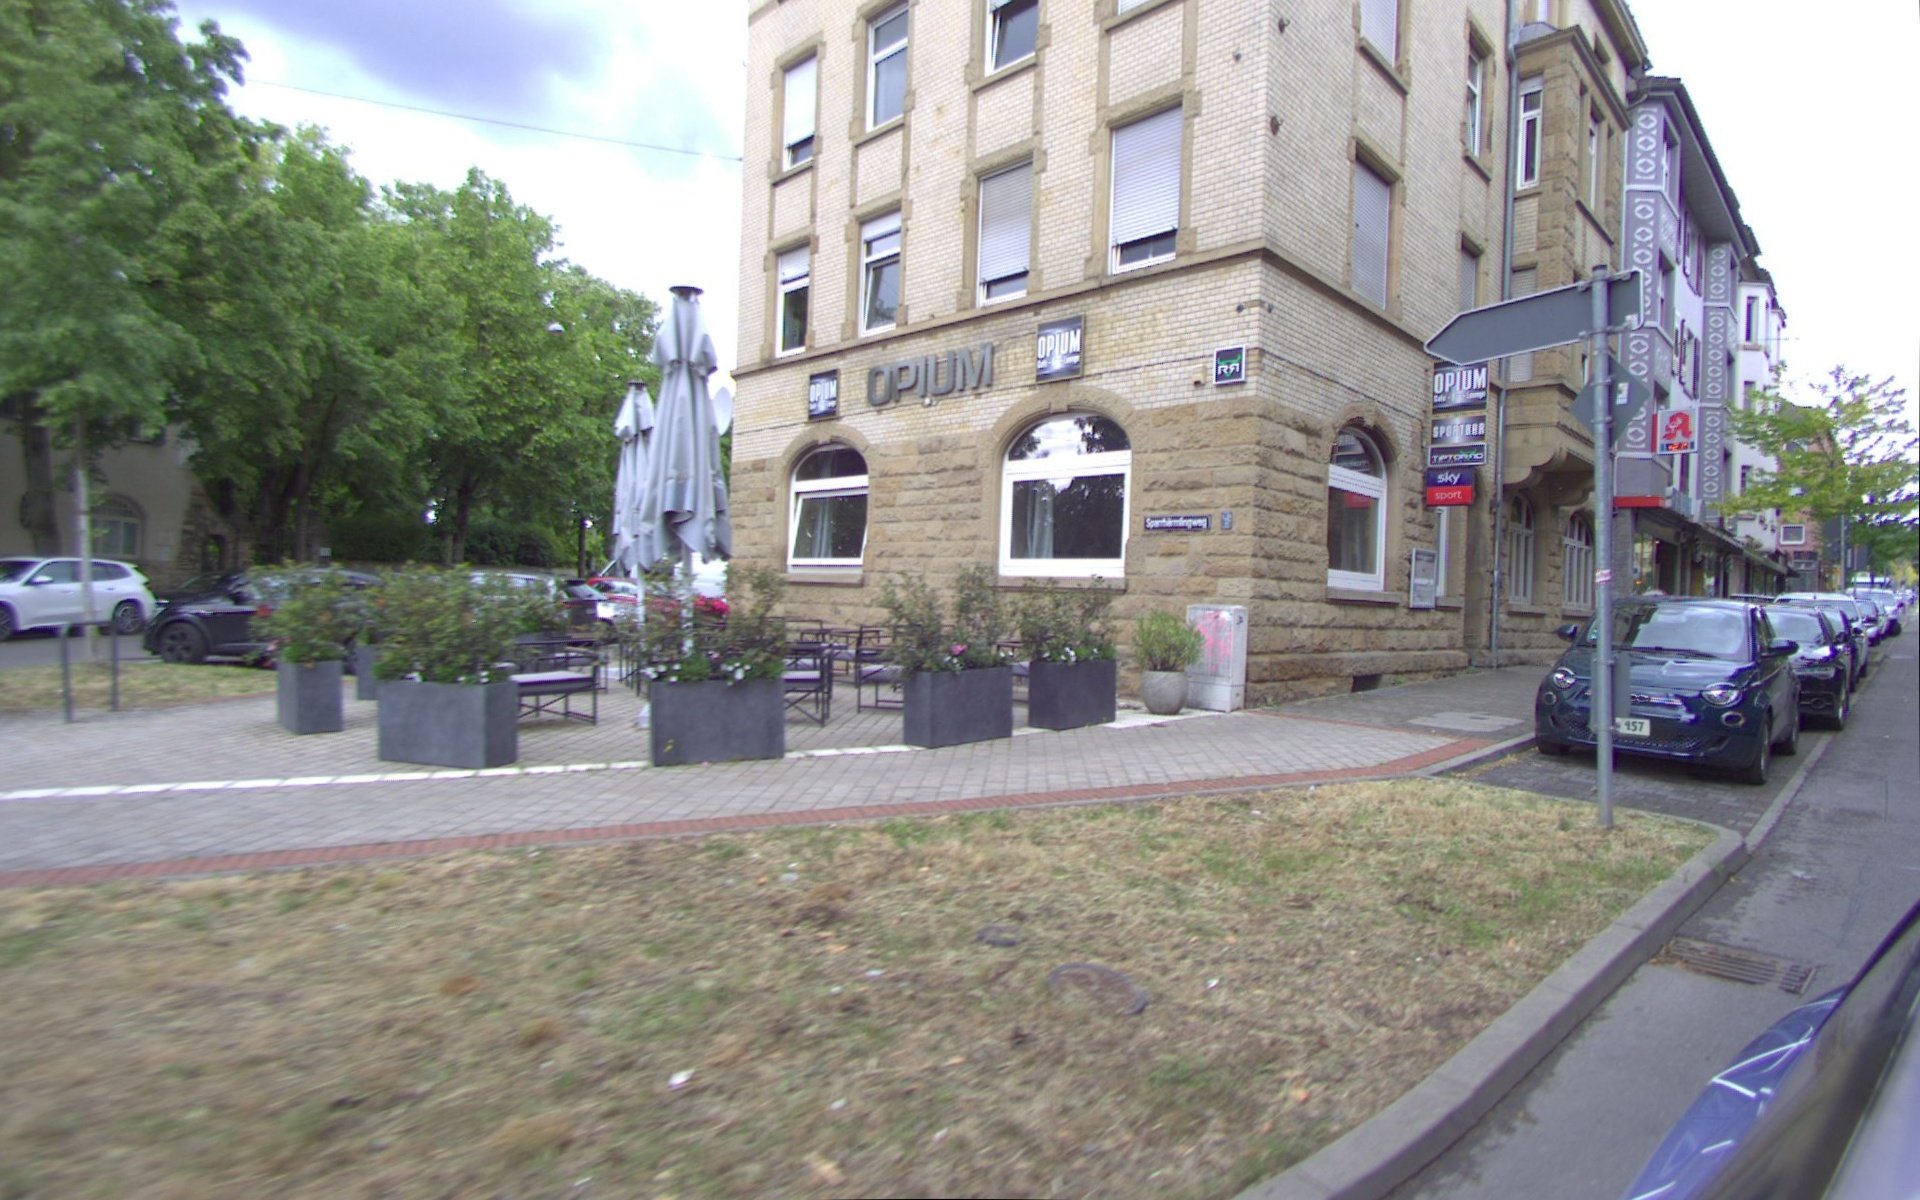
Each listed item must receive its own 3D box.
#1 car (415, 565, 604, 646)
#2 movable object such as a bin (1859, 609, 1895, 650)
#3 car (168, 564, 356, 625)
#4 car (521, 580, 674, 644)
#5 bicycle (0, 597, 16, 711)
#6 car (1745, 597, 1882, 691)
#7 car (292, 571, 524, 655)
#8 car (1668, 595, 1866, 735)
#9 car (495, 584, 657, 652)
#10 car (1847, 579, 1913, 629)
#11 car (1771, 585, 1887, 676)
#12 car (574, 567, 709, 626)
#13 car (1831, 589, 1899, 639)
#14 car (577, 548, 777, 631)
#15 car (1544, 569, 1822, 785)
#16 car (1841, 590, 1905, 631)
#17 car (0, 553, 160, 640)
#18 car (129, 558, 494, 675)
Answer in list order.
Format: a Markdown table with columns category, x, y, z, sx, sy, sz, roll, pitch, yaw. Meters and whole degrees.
| category | x | y | z | sx | sy | sz | roll | pitch | yaw |
| --- | --- | --- | --- | --- | --- | --- | --- | --- | --- |
| car | -8.872 | 0.103 | 20.118 | 3.098 | 1.555 | 1.549 | 0 | 0 | -3 |
| movable object such as a bin | 24.217 | 0.775 | 26.737 | 0.620 | 1.037 | 0.687 | 1 | 0 | 37 |
| car | -18.120 | -0.178 | 26.546 | 1.765 | 1.454 | 4.370 | 1 | 1 | 3 |
| car | -8.845 | 0.286 | 24.888 | 3.230 | 1.455 | 1.549 | -1 | 0 | -3 |
| bicycle | -9.142 | 0.553 | 8.937 | 0.589 | 1.079 | 2.191 | 0 | 2 | -27 |
| car | 15.466 | 0.693 | 18.256 | 1.606 | 1.414 | 4.209 | 4 | 3 | 43 |
| car | -9.615 | 0.222 | 17.801 | 3.230 | 1.375 | 1.549 | 0 | 0 | -3 |
| car | 10.968 | 0.715 | 13.608 | 1.738 | 1.481 | 4.702 | 3 | 2 | 42 |
| car | -8.575 | 0.392 | 22.792 | 3.115 | 1.419 | 1.474 | -1 | 0 | -5 |
| car | 39.070 | 0.156 | 43.064 | 1.905 | 1.954 | 4.847 | 3 | 2 | 41 |
| car | 18.583 | 0.574 | 21.651 | 1.678 | 1.684 | 4.476 | 3 | 2 | 41 |
| car | -8.618 | -0.100 | 27.562 | 3.230 | 1.494 | 1.549 | -1 | 0 | -3 |
| car | 30.568 | 0.456 | 34.169 | 1.483 | 1.553 | 3.465 | 3 | 2 | 45 |
| car | -8.403 | -0.348 | 30.310 | 5.401 | 2.320 | 1.997 | 1 | 1 | 6 |
| car | 6.911 | 0.561 | 9.533 | 1.566 | 1.630 | 3.595 | 2 | 1 | 45 |
| car | 35.377 | 0.380 | 39.183 | 1.684 | 1.433 | 3.977 | 3 | 2 | 44 |
| car | -18.519 | -0.114 | 19.857 | 1.965 | 1.616 | 4.367 | 1 | 1 | 5 |
| car | -9.722 | 0.212 | 15.466 | 4.288 | 1.616 | 2.001 | 1 | 1 | -2 |
